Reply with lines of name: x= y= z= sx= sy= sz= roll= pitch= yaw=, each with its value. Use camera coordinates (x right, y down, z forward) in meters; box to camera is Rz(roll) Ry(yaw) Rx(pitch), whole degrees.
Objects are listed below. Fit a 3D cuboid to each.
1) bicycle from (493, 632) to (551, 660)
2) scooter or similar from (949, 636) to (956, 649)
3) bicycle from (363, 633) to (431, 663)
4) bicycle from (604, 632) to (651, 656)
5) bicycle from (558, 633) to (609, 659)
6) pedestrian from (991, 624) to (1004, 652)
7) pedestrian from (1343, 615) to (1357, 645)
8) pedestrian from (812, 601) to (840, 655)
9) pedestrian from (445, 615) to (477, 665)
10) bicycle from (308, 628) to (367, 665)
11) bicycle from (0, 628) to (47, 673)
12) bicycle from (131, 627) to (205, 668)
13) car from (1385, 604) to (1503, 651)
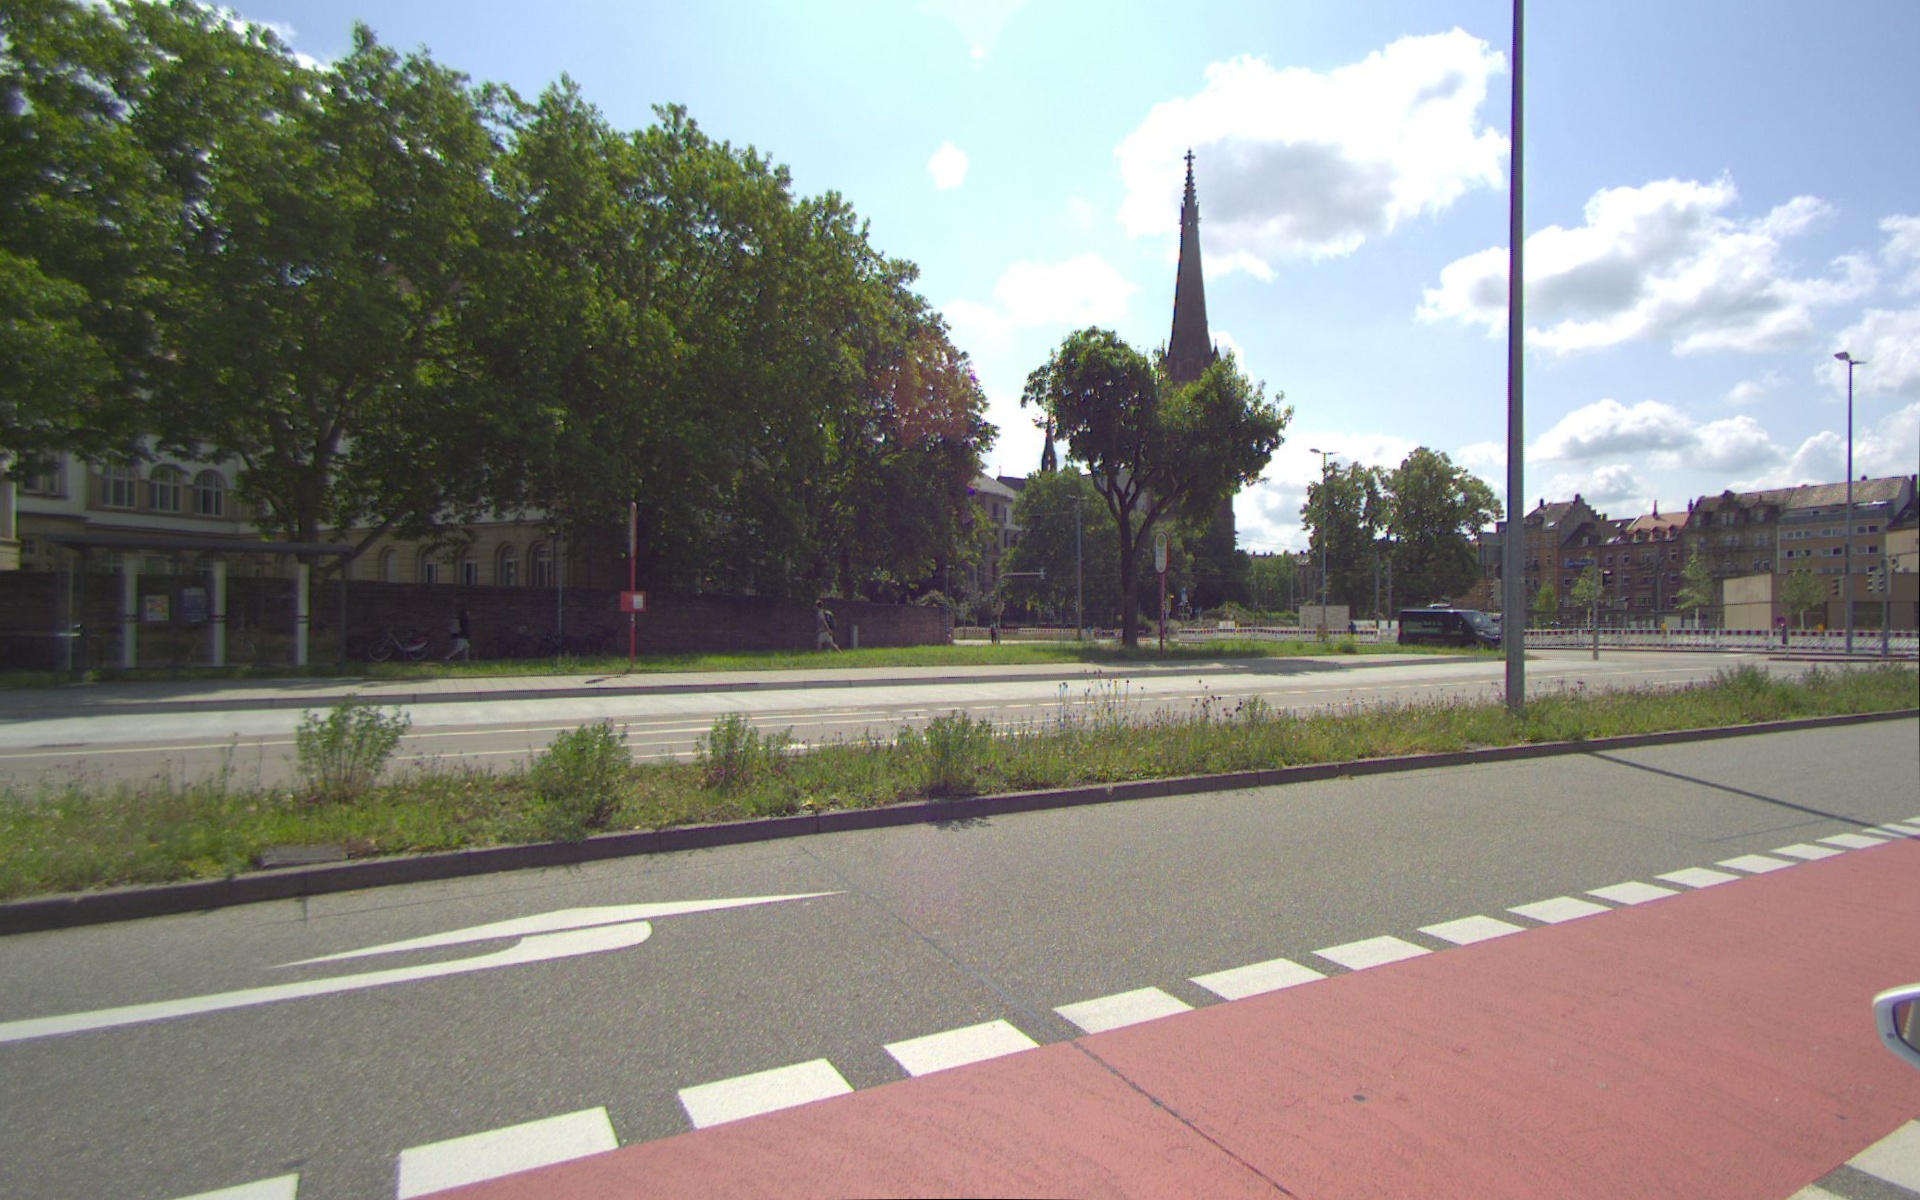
bicycle: x=-14.016 y=1.463 z=32.199 sx=0.378 sy=0.828 sz=1.743 roll=0 pitch=-1 yaw=36
scooter or similar: x=-0.434 y=2.476 z=58.983 sx=0.117 sy=0.721 sz=1.005 roll=0 pitch=-1 yaw=17
bicycle: x=-16.235 y=1.381 z=29.013 sx=0.324 sy=0.828 sz=1.743 roll=0 pitch=-1 yaw=36
bicycle: x=-11.794 y=1.550 z=35.650 sx=0.324 sy=0.828 sz=1.743 roll=0 pitch=-1 yaw=36
bicycle: x=-12.776 y=1.552 z=34.155 sx=0.324 sy=0.828 sz=1.743 roll=0 pitch=-1 yaw=36
pedestrian: x=2.783 y=2.833 z=74.671 sx=0.713 sy=2.040 sz=0.721 roll=1 pitch=-1 yaw=-32
pedestrian: x=26.753 y=2.037 z=68.834 sx=0.625 sy=2.040 sz=0.643 roll=1 pitch=-1 yaw=-32
pedestrian: x=-3.756 y=0.775 z=28.226 sx=0.627 sy=1.492 sz=0.506 roll=1 pitch=-1 yaw=-32
pedestrian: x=-14.219 y=1.131 z=28.627 sx=0.720 sy=1.413 sz=0.714 roll=1 pitch=-1 yaw=-35
bicycle: x=-17.155 y=1.266 z=27.716 sx=0.260 sy=0.977 sz=1.391 roll=0 pitch=-1 yaw=36
bicycle: x=-21.253 y=1.117 z=22.325 sx=0.260 sy=0.977 sz=1.391 roll=0 pitch=-1 yaw=36
bicycle: x=-19.413 y=1.159 z=24.645 sx=0.260 sy=0.977 sz=1.391 roll=0 pitch=-1 yaw=36
car: x=24.140 y=1.351 z=50.311 sx=2.132 sy=2.204 sz=4.973 roll=1 pitch=-1 yaw=-33
